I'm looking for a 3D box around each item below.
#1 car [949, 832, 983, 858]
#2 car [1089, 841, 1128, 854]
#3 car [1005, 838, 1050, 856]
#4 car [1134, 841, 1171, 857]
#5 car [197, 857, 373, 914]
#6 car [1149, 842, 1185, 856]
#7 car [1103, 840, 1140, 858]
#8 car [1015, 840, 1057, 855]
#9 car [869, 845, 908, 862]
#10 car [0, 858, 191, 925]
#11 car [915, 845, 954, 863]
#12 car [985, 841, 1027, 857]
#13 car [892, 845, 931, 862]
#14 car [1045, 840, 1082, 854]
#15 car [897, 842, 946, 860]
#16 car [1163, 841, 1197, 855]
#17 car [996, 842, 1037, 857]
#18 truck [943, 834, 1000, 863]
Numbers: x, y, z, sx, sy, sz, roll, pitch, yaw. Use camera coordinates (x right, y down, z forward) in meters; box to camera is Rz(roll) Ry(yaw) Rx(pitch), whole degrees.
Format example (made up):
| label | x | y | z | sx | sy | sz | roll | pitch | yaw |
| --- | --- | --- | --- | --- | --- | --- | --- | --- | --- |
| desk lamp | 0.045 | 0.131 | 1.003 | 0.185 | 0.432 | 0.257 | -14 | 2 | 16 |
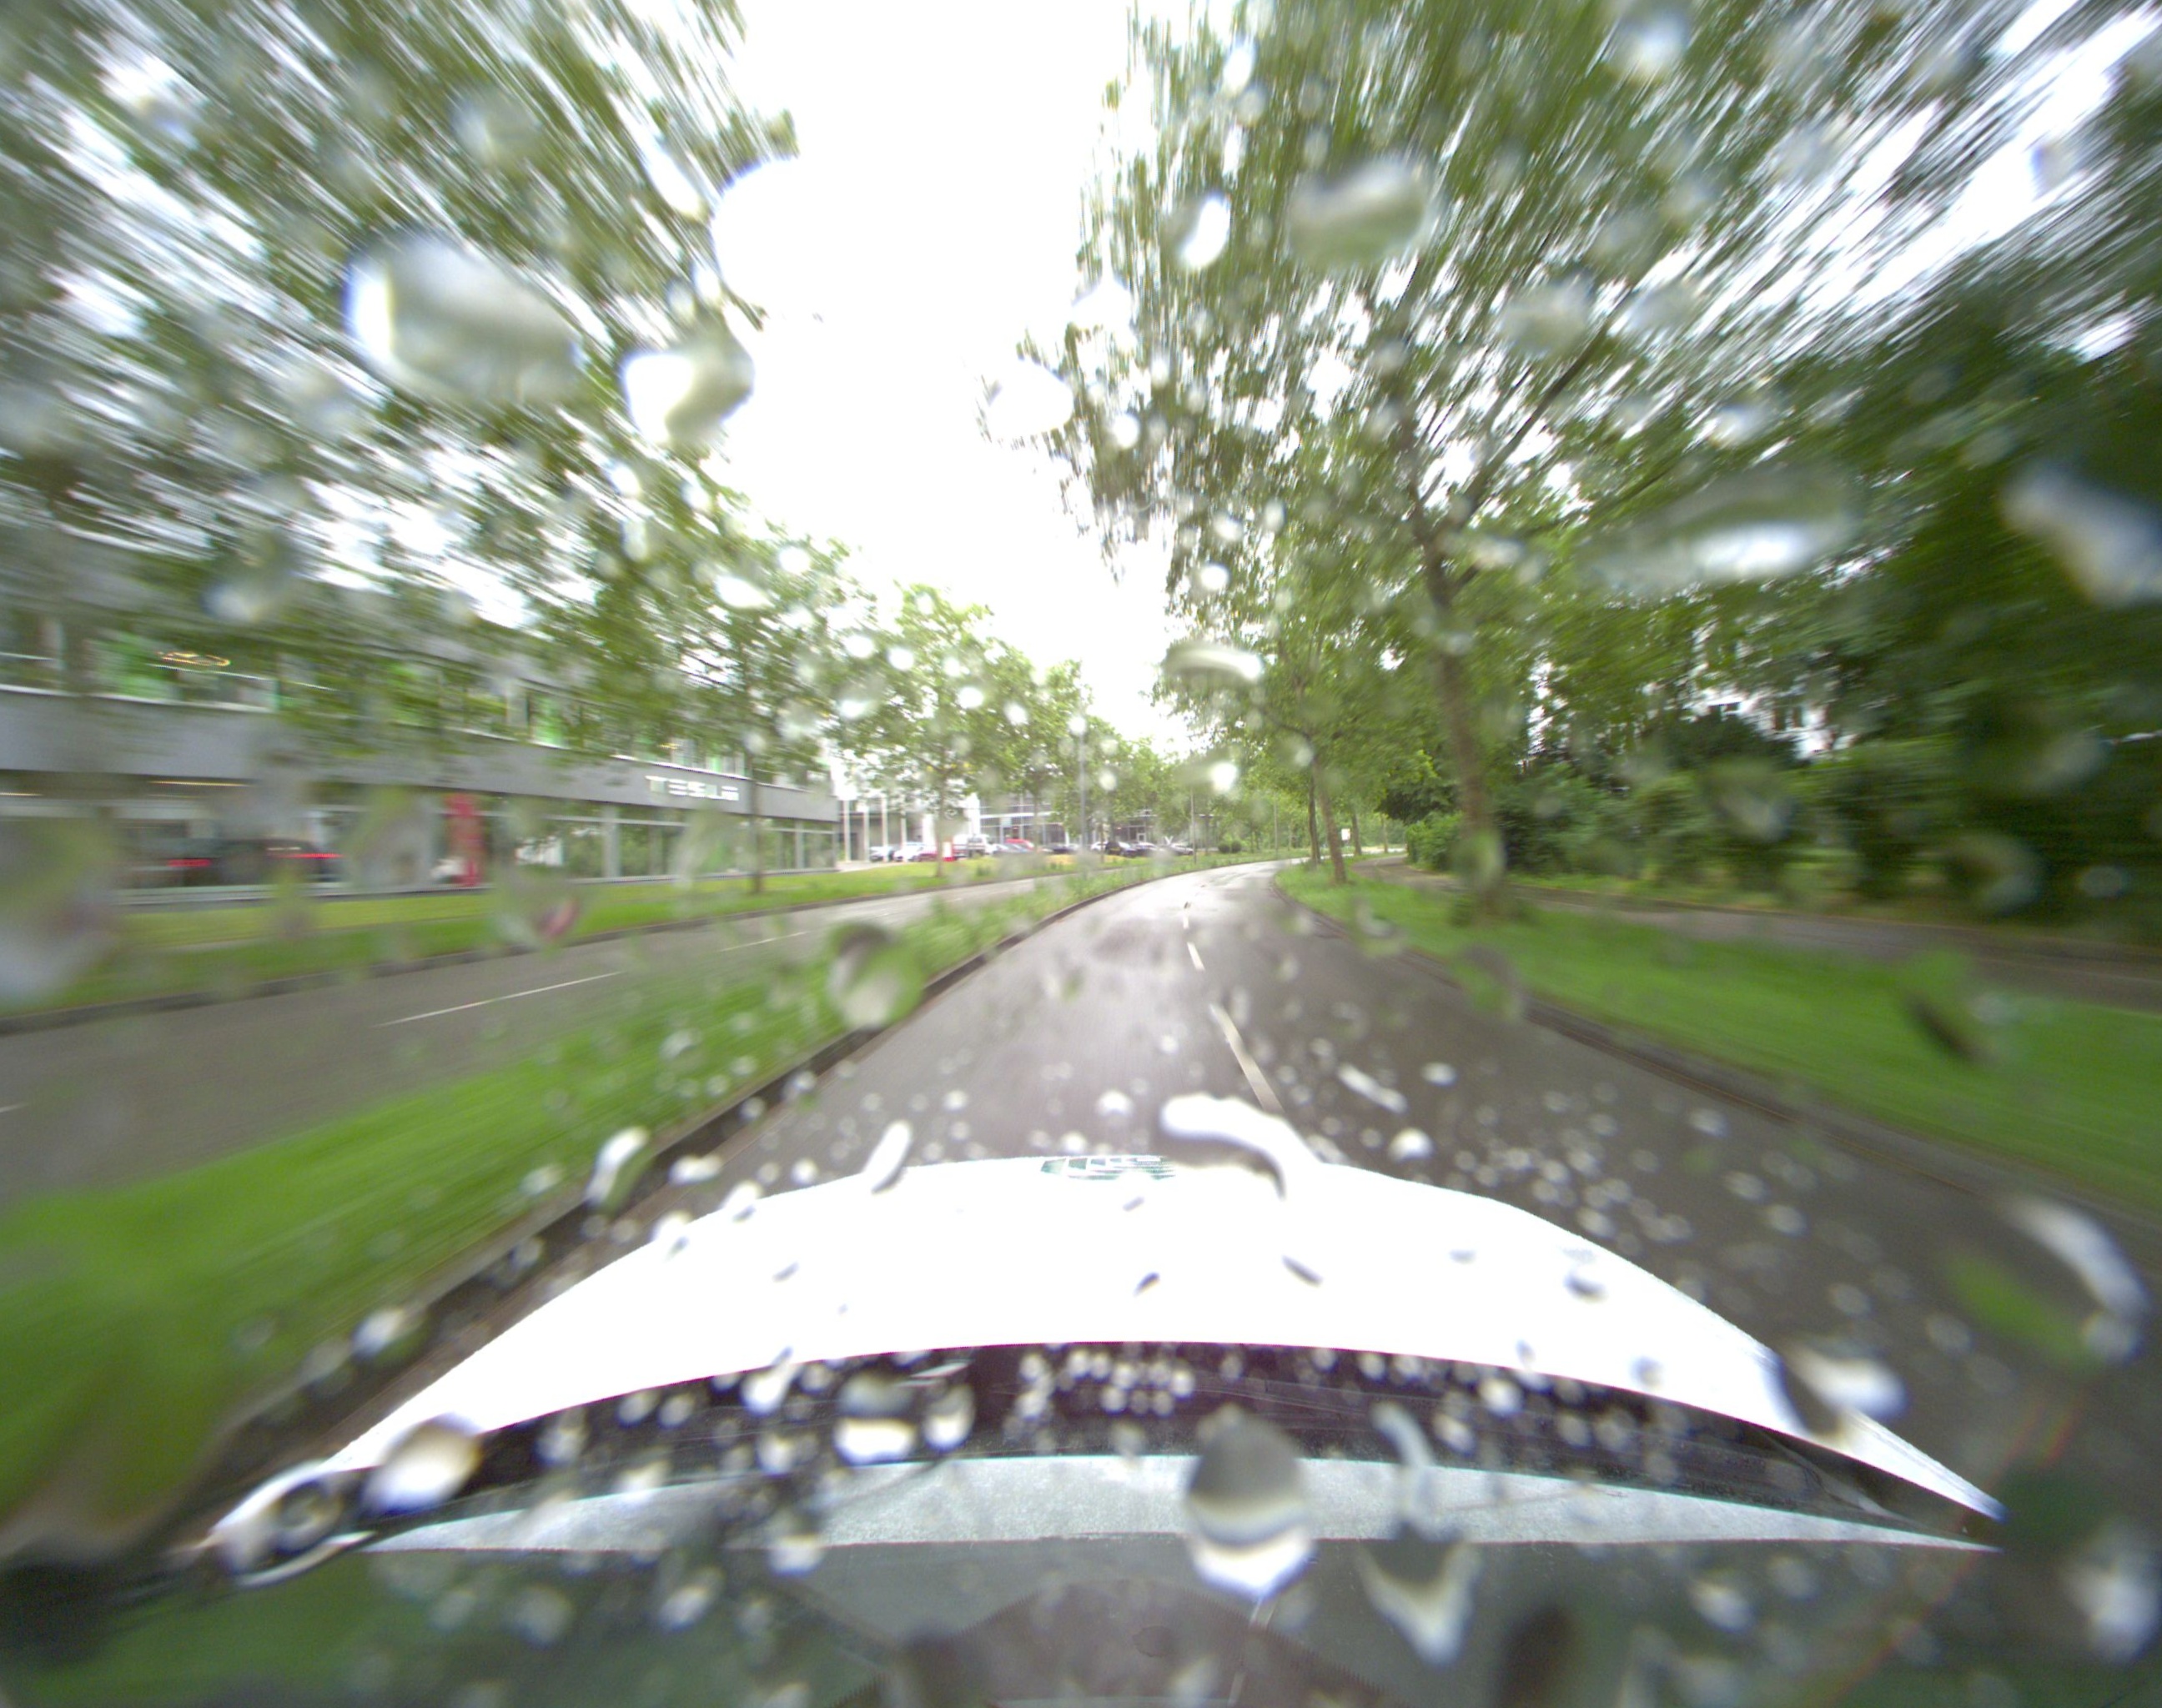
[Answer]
| label | x | y | z | sx | sy | sz | roll | pitch | yaw |
| --- | --- | --- | --- | --- | --- | --- | --- | --- | --- |
| car | -12.814 | -1.048 | 90.553 | 2.176 | 2.752 | 5.292 | 0 | 1 | -27 |
| car | 3.430 | -0.847 | 100.099 | 4.386 | 1.473 | 1.929 | -1 | 1 | 18 |
| car | -5.323 | -0.710 | 81.087 | 3.962 | 1.556 | 1.857 | 2 | 3 | 21 |
| car | 8.870 | -0.639 | 100.884 | 4.127 | 1.478 | 1.837 | 4 | 4 | -19 |
| car | -22.576 | 0.890 | 23.126 | 4.161 | 1.494 | 1.604 | -1 | 0 | 14 |
| car | 11.001 | -0.654 | 104.316 | 4.123 | 1.422 | 1.840 | 4 | 4 | -15 |
| car | 4.701 | -0.639 | 94.939 | 1.855 | 1.556 | 4.392 | 2 | 5 | -35 |
| car | -4.636 | -0.692 | 83.902 | 3.962 | 1.357 | 1.857 | 2 | 3 | 21 |
| car | -17.683 | -0.066 | 75.013 | 1.750 | 1.396 | 4.174 | 0 | 2 | 15 |
| car | -24.269 | 0.901 | 19.896 | 4.161 | 1.494 | 1.604 | -1 | 0 | 14 |
| car | -13.052 | -0.048 | 72.868 | 1.750 | 1.466 | 4.174 | 0 | 2 | 15 |
| car | -7.010 | -0.480 | 76.382 | 3.493 | 1.326 | 1.778 | 2 | 3 | 21 |
| car | -15.419 | -0.068 | 74.418 | 1.750 | 1.396 | 4.174 | 0 | 2 | 15 |
| car | -1.899 | -0.779 | 90.571 | 3.979 | 1.357 | 1.849 | 1 | 2 | 3 |
| car | -16.487 | -0.341 | 84.138 | 4.668 | 1.764 | 1.803 | -1 | 1 | -30 |
| car | 13.112 | -0.852 | 108.100 | 4.004 | 1.475 | 1.772 | 3 | 4 | -24 |
| car | -6.182 | -0.466 | 78.536 | 3.493 | 1.326 | 1.778 | 2 | 3 | 21 |
| truck | -9.632 | -0.584 | 72.404 | 2.227 | 2.344 | 6.228 | 2 | 3 | 22 |
